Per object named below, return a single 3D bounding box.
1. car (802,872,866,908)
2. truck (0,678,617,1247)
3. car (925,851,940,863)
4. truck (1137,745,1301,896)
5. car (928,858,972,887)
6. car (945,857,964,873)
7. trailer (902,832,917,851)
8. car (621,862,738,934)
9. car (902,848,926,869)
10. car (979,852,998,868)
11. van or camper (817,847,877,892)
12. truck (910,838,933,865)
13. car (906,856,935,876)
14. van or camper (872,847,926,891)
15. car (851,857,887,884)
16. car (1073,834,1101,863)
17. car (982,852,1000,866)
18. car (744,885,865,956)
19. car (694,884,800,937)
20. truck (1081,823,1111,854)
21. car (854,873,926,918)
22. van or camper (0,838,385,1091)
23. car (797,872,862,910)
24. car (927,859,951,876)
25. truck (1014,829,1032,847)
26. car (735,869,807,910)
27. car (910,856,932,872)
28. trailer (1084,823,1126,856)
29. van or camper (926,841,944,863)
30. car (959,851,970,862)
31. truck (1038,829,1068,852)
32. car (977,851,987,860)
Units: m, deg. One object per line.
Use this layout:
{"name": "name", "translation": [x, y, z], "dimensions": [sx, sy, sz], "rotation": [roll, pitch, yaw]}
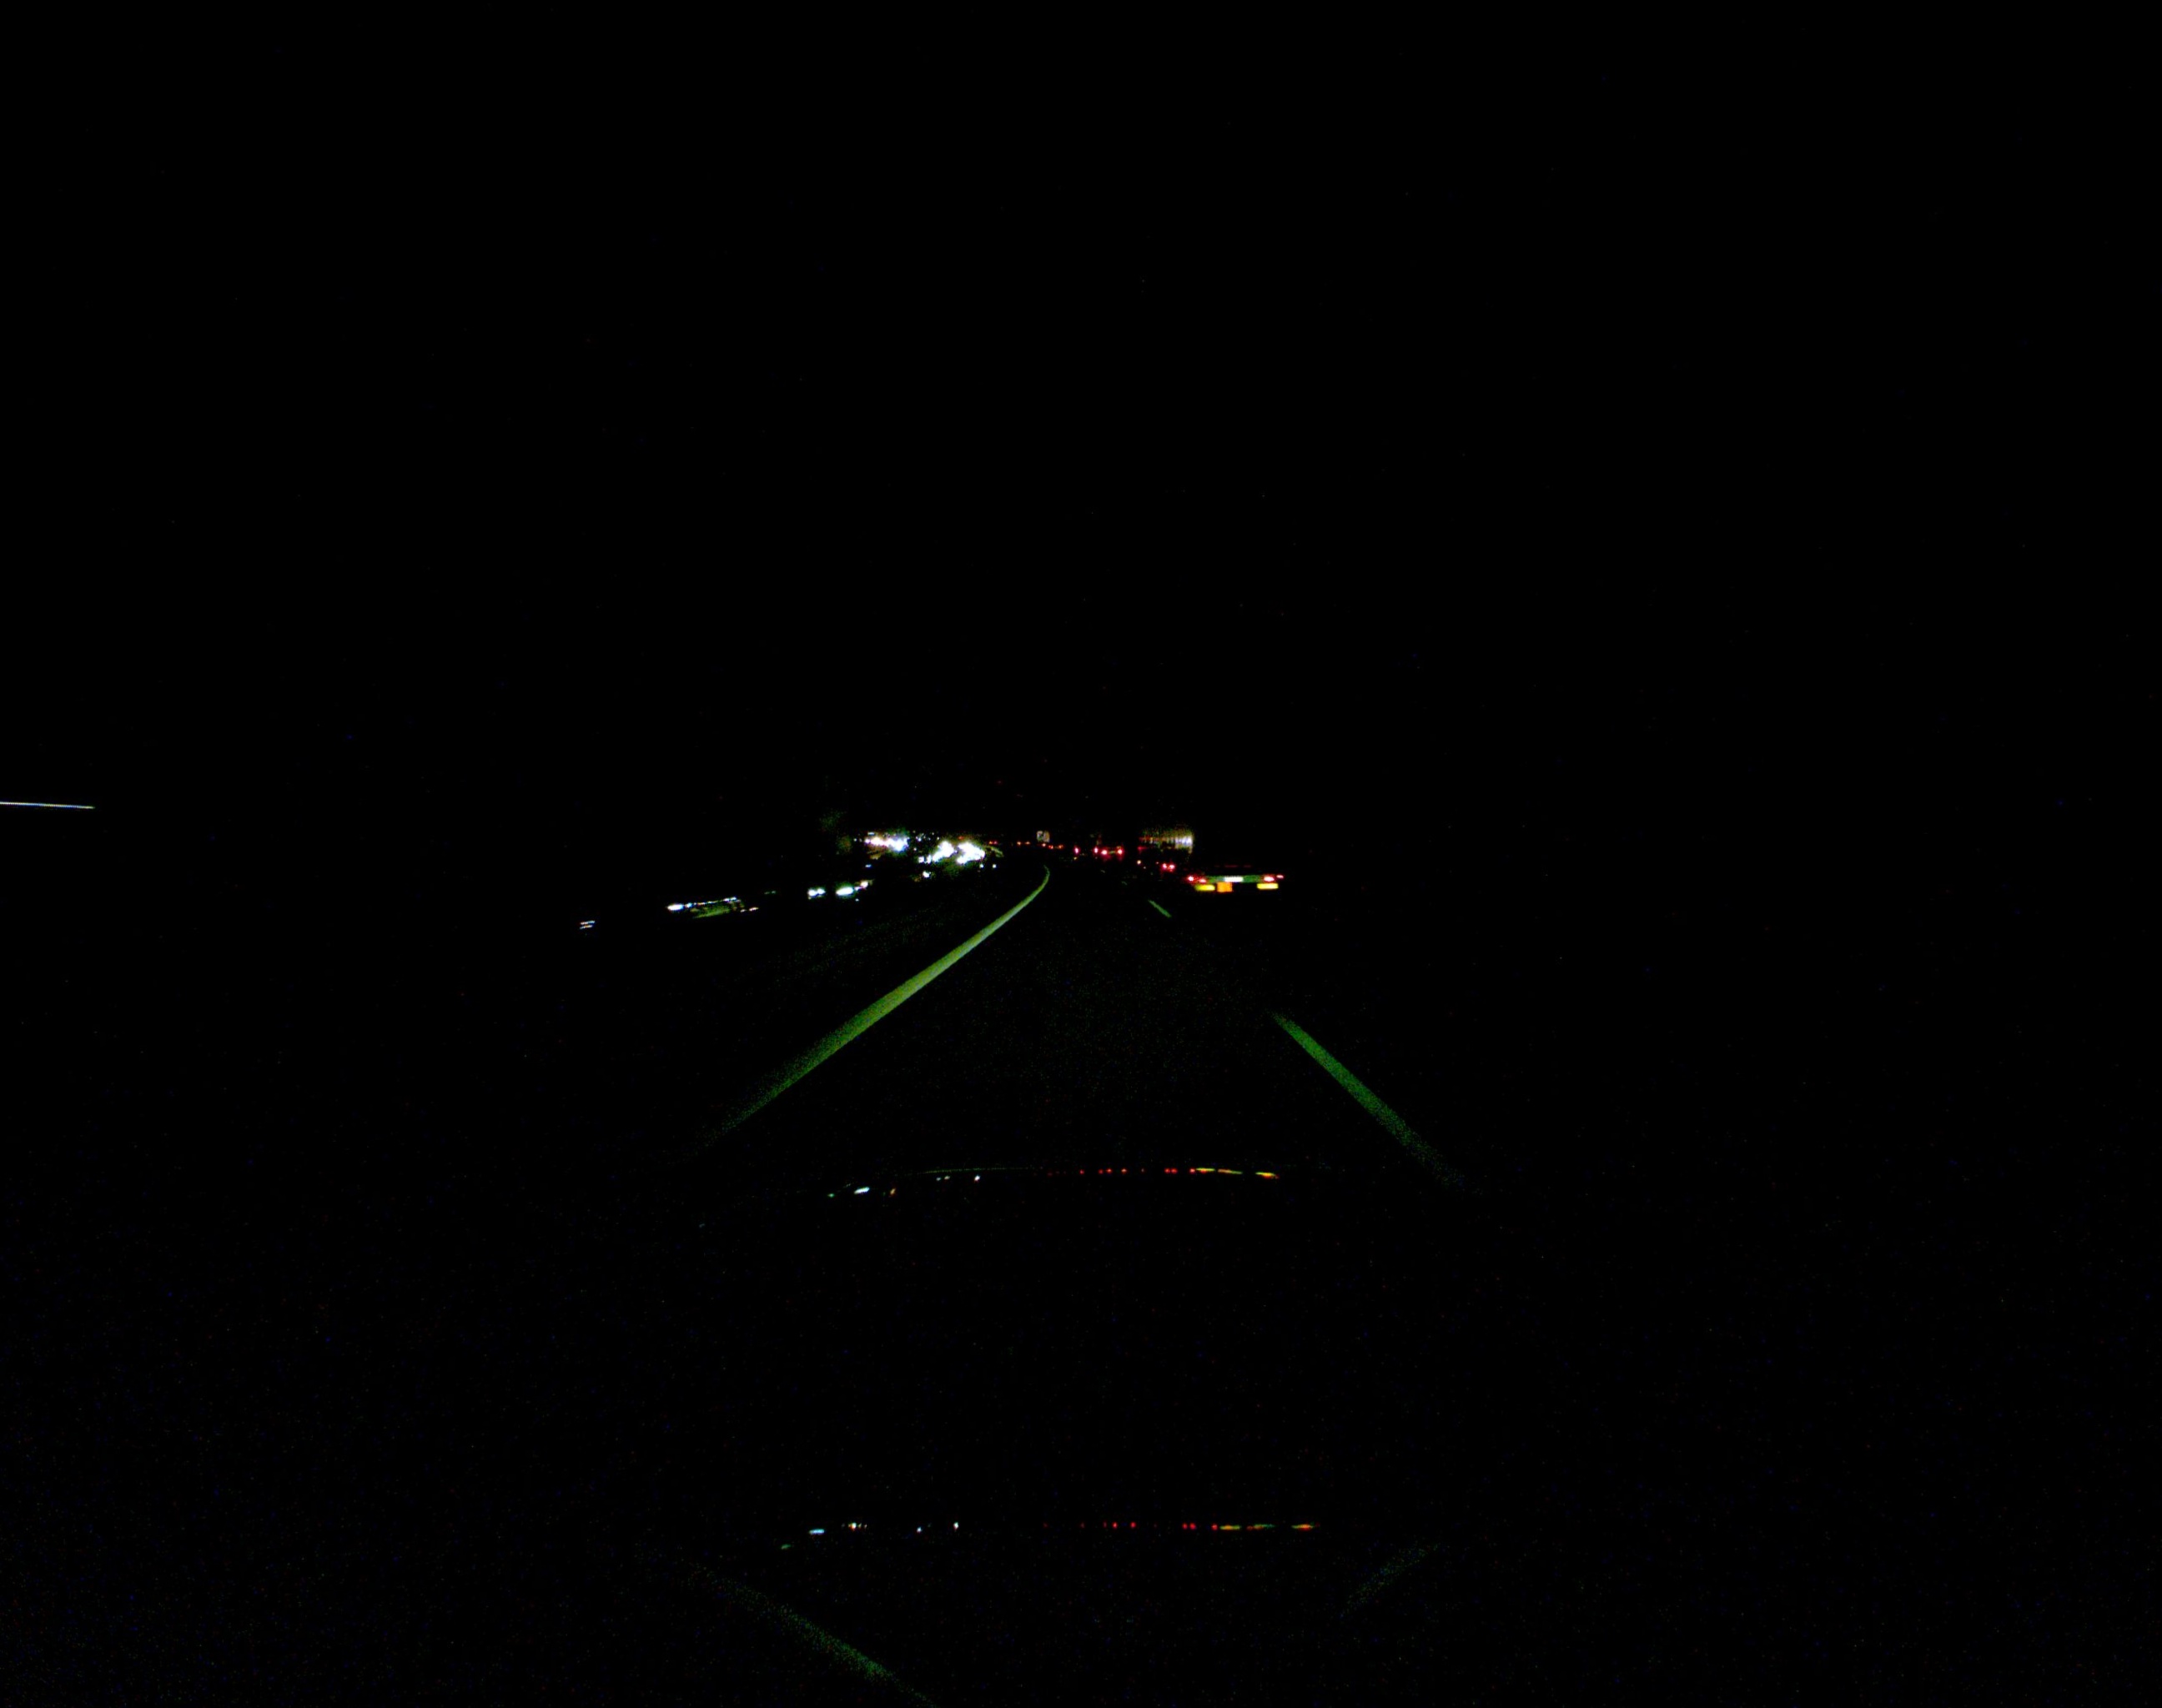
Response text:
{"name": "car", "translation": [-11.966, 1.709, 39.709], "dimensions": [1.814, 1.451, 4.502], "rotation": [-2, 0, -2]}
{"name": "truck", "translation": [-8.089, 0.696, 7.417], "dimensions": [2.645, 3.591, 8.552], "rotation": [0, 0, 1]}
{"name": "car", "translation": [-20.556, 0.370, 112.563], "dimensions": [1.639, 1.539, 4.429], "rotation": [-2, 1, -6]}
{"name": "truck", "translation": [4.456, -0.954, 31.828], "dimensions": [3.470, 4.134, 18.711], "rotation": [0, 0, 1]}
{"name": "car", "translation": [-7.318, 1.017, 45.870], "dimensions": [1.829, 1.451, 4.502], "rotation": [-2, 0, -2]}
{"name": "car", "translation": [-15.039, 1.290, 96.965], "dimensions": [1.992, 1.660, 4.443], "rotation": [-2, 1, -7]}
{"name": "trailer", "translation": [-40.830, -3.027, 194.005], "dimensions": [2.844, 4.170, 13.223], "rotation": [-4, 2, -14]}
{"name": "car", "translation": [-15.131, 1.553, 31.101], "dimensions": [1.829, 2.370, 5.443], "rotation": [-2, 0, -2]}
{"name": "car", "translation": [-16.607, 0.405, 80.946], "dimensions": [1.993, 1.959, 4.971], "rotation": [-3, 1, -9]}
{"name": "car", "translation": [-9.163, 0.548, 80.534], "dimensions": [1.752, 1.354, 4.626], "rotation": [-2, 1, -6]}
{"name": "van or camper", "translation": [-15.570, 0.973, 54.580], "dimensions": [2.441, 2.760, 6.479], "rotation": [-2, 0, -4]}
{"name": "truck", "translation": [-20.313, -0.327, 104.052], "dimensions": [2.375, 3.259, 7.699], "rotation": [-3, 1, -9]}
{"name": "car", "translation": [-12.846, 0.912, 65.377], "dimensions": [1.745, 1.452, 3.836], "rotation": [-3, 0, -3]}
{"name": "van or camper", "translation": [-11.885, 0.922, 53.613], "dimensions": [2.250, 2.594, 6.679], "rotation": [-3, 1, -3]}
{"name": "car", "translation": [-16.476, 1.266, 63.402], "dimensions": [1.836, 1.923, 4.557], "rotation": [-3, 0, -4]}
{"name": "car", "translation": [0.578, -0.514, 78.103], "dimensions": [2.327, 2.640, 5.253], "rotation": [0, 0, 4]}
{"name": "car", "translation": [-9.714, 0.515, 87.961], "dimensions": [1.751, 1.354, 4.285], "rotation": [-2, 1, -5]}
{"name": "car", "translation": [-7.521, 1.754, 22.622], "dimensions": [1.988, 1.537, 4.144], "rotation": [-2, 0, -2]}
{"name": "car", "translation": [-11.382, 1.871, 28.119], "dimensions": [1.829, 1.451, 4.502], "rotation": [-2, 0, -2]}
{"name": "truck", "translation": [2.055, -2.196, 113.636], "dimensions": [2.862, 4.076, 7.487], "rotation": [-2, 2, -9]}
{"name": "car", "translation": [-7.335, 1.545, 31.685], "dimensions": [1.814, 1.451, 4.502], "rotation": [-2, 0, -2]}
{"name": "van or camper", "translation": [-15.315, 1.501, 13.732], "dimensions": [2.263, 3.379, 5.690], "rotation": [-2, 0, -2]}
{"name": "car", "translation": [-12.026, 1.730, 39.213], "dimensions": [1.814, 1.514, 4.502], "rotation": [-2, 0, -2]}
{"name": "car", "translation": [-13.364, 1.289, 76.935], "dimensions": [1.601, 1.479, 4.072], "rotation": [-2, 0, -1]}
{"name": "truck", "translation": [-15.171, -4.298, 212.786], "dimensions": [3.343, 4.475, 13.868], "rotation": [1, 1, -9]}
{"name": "car", "translation": [-16.430, 1.834, 43.471], "dimensions": [1.829, 1.859, 5.443], "rotation": [-2, 0, -2]}
{"name": "car", "translation": [-18.315, 1.146, 93.331], "dimensions": [1.858, 1.700, 4.386], "rotation": [-3, 1, -5]}
{"name": "trailer", "translation": [3.027, -2.017, 108.028], "dimensions": [2.854, 4.066, 13.162], "rotation": [-2, 2, -10]}
{"name": "van or camper", "translation": [-21.820, -0.379, 121.731], "dimensions": [2.220, 3.003, 7.106], "rotation": [-2, 2, -7]}
{"name": "car", "translation": [-18.719, 0.391, 130.579], "dimensions": [1.640, 1.539, 3.989], "rotation": [-2, 1, -8]}
{"name": "truck", "translation": [-6.172, -2.947, 173.393], "dimensions": [3.914, 4.627, 20.953], "rotation": [1, 1, -9]}
{"name": "car", "translation": [-14.933, 0.189, 123.132], "dimensions": [1.417, 1.256, 3.120], "rotation": [-2, 2, -8]}
